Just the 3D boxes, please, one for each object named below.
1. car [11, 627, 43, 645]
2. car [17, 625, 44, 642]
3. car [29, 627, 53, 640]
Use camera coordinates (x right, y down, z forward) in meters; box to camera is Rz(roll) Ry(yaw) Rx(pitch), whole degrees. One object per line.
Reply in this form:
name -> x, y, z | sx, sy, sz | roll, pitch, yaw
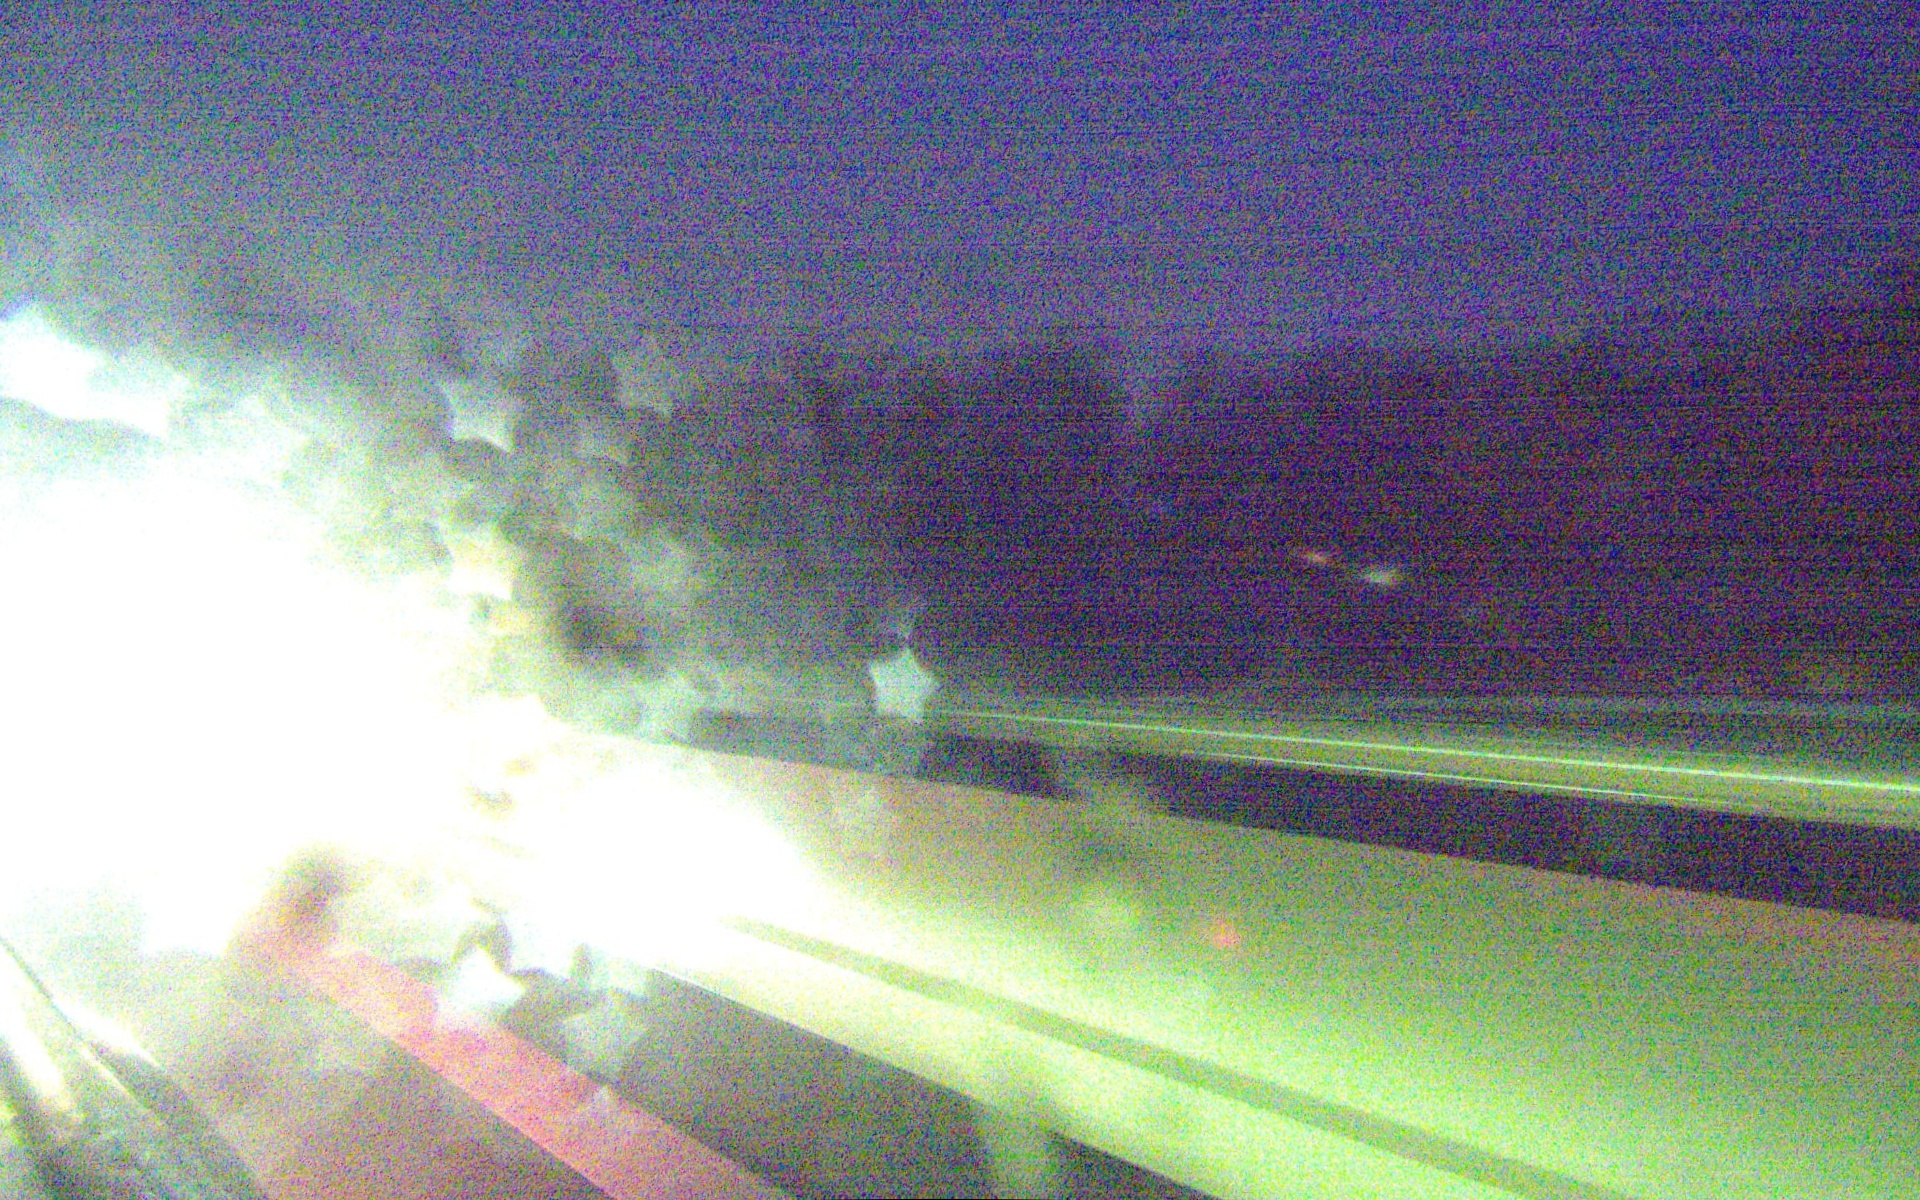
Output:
car -> -89.709, 3.449, 97.288 | 4.378, 1.538, 1.766 | -1, 0, 41
car -> -146.037, 5.281, 158.983 | 7.146, 2.462, 2.355 | -2, -4, 42
car -> -108.830, 4.009, 119.867 | 4.271, 1.520, 1.672 | -2, -4, 42
